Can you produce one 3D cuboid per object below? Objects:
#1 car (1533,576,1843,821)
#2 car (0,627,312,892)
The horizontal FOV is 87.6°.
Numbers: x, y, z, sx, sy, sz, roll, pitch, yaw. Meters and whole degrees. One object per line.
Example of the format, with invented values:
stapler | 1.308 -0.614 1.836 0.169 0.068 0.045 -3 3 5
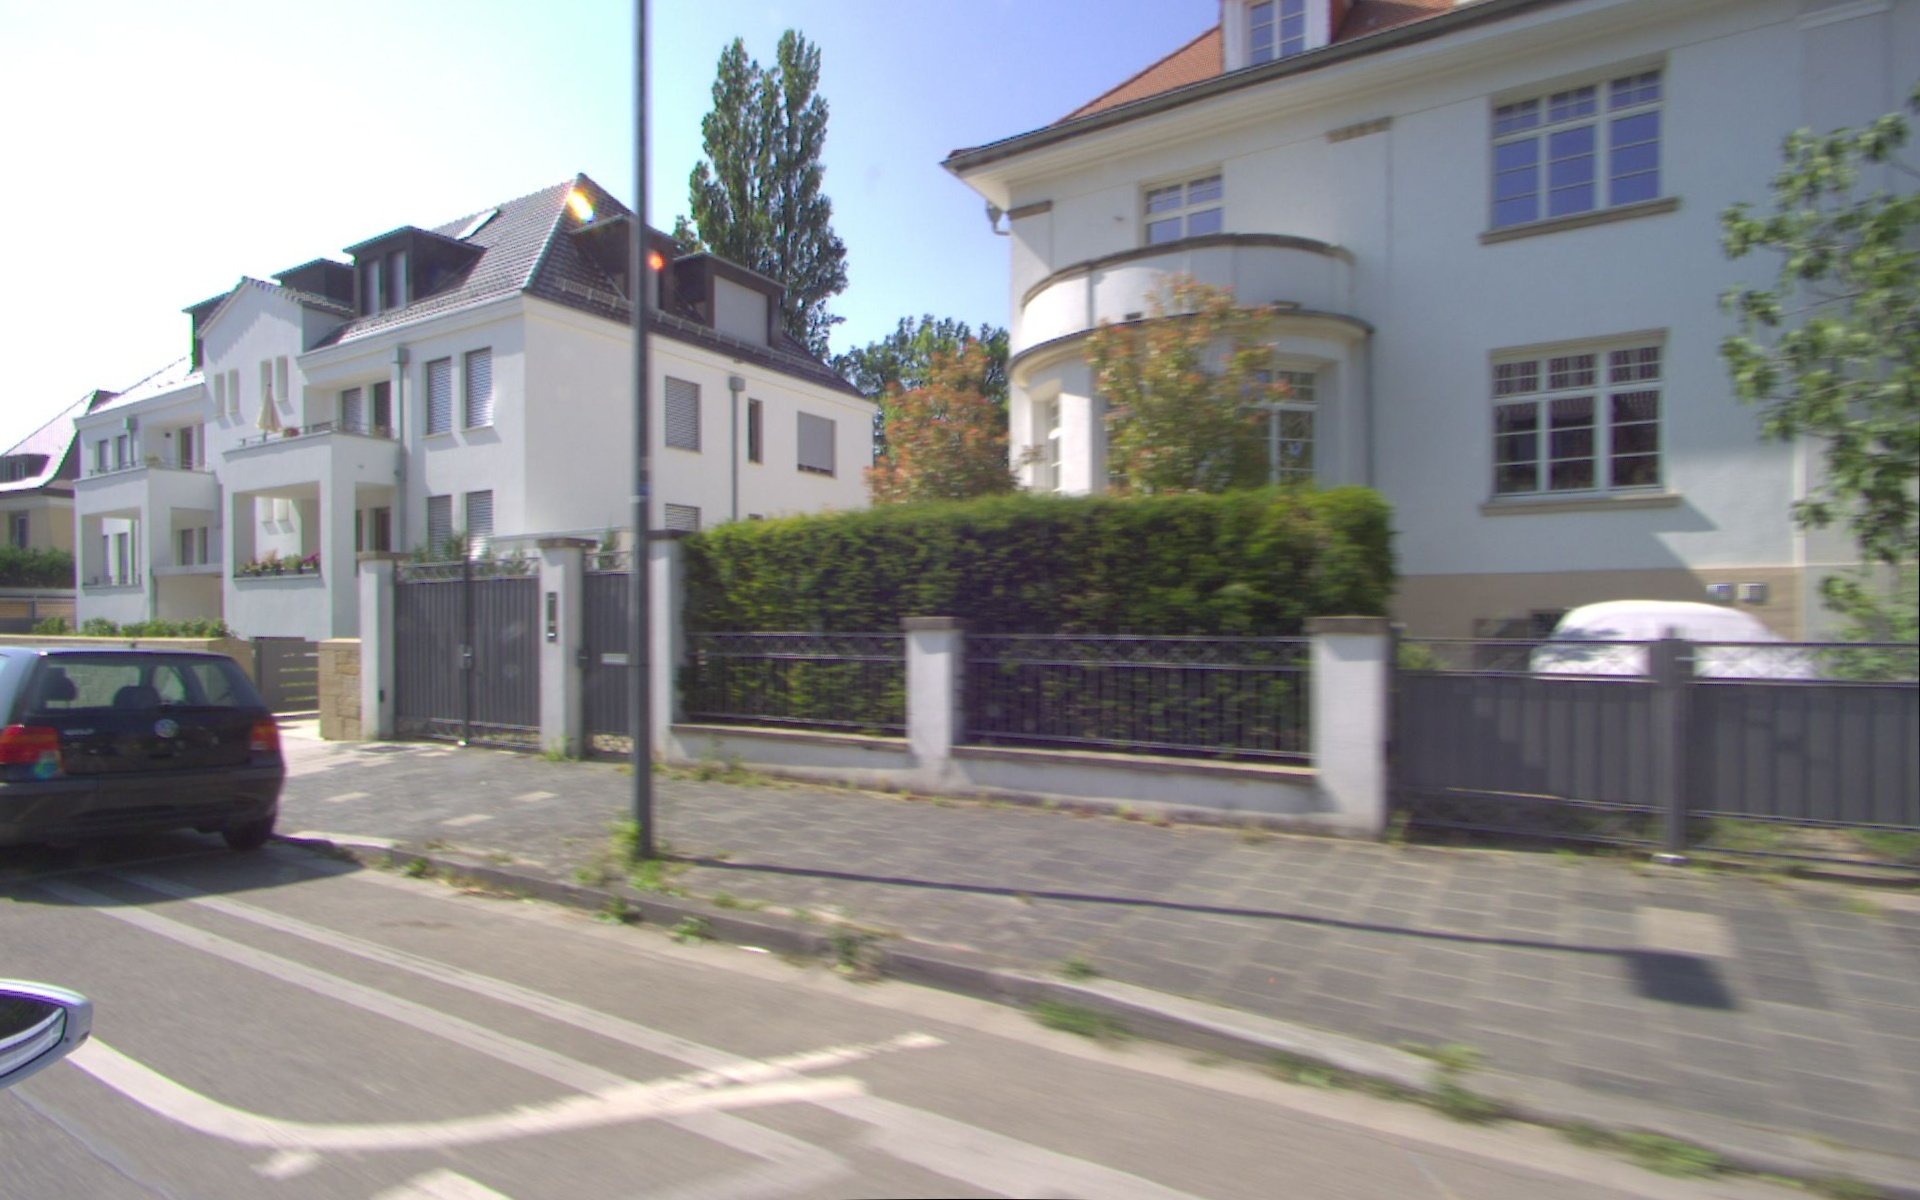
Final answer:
car | 6.032 0.775 8.780 1.676 1.602 4.161 0 -4 29
car | -6.613 0.979 7.266 3.942 1.466 1.618 -1 -4 31
